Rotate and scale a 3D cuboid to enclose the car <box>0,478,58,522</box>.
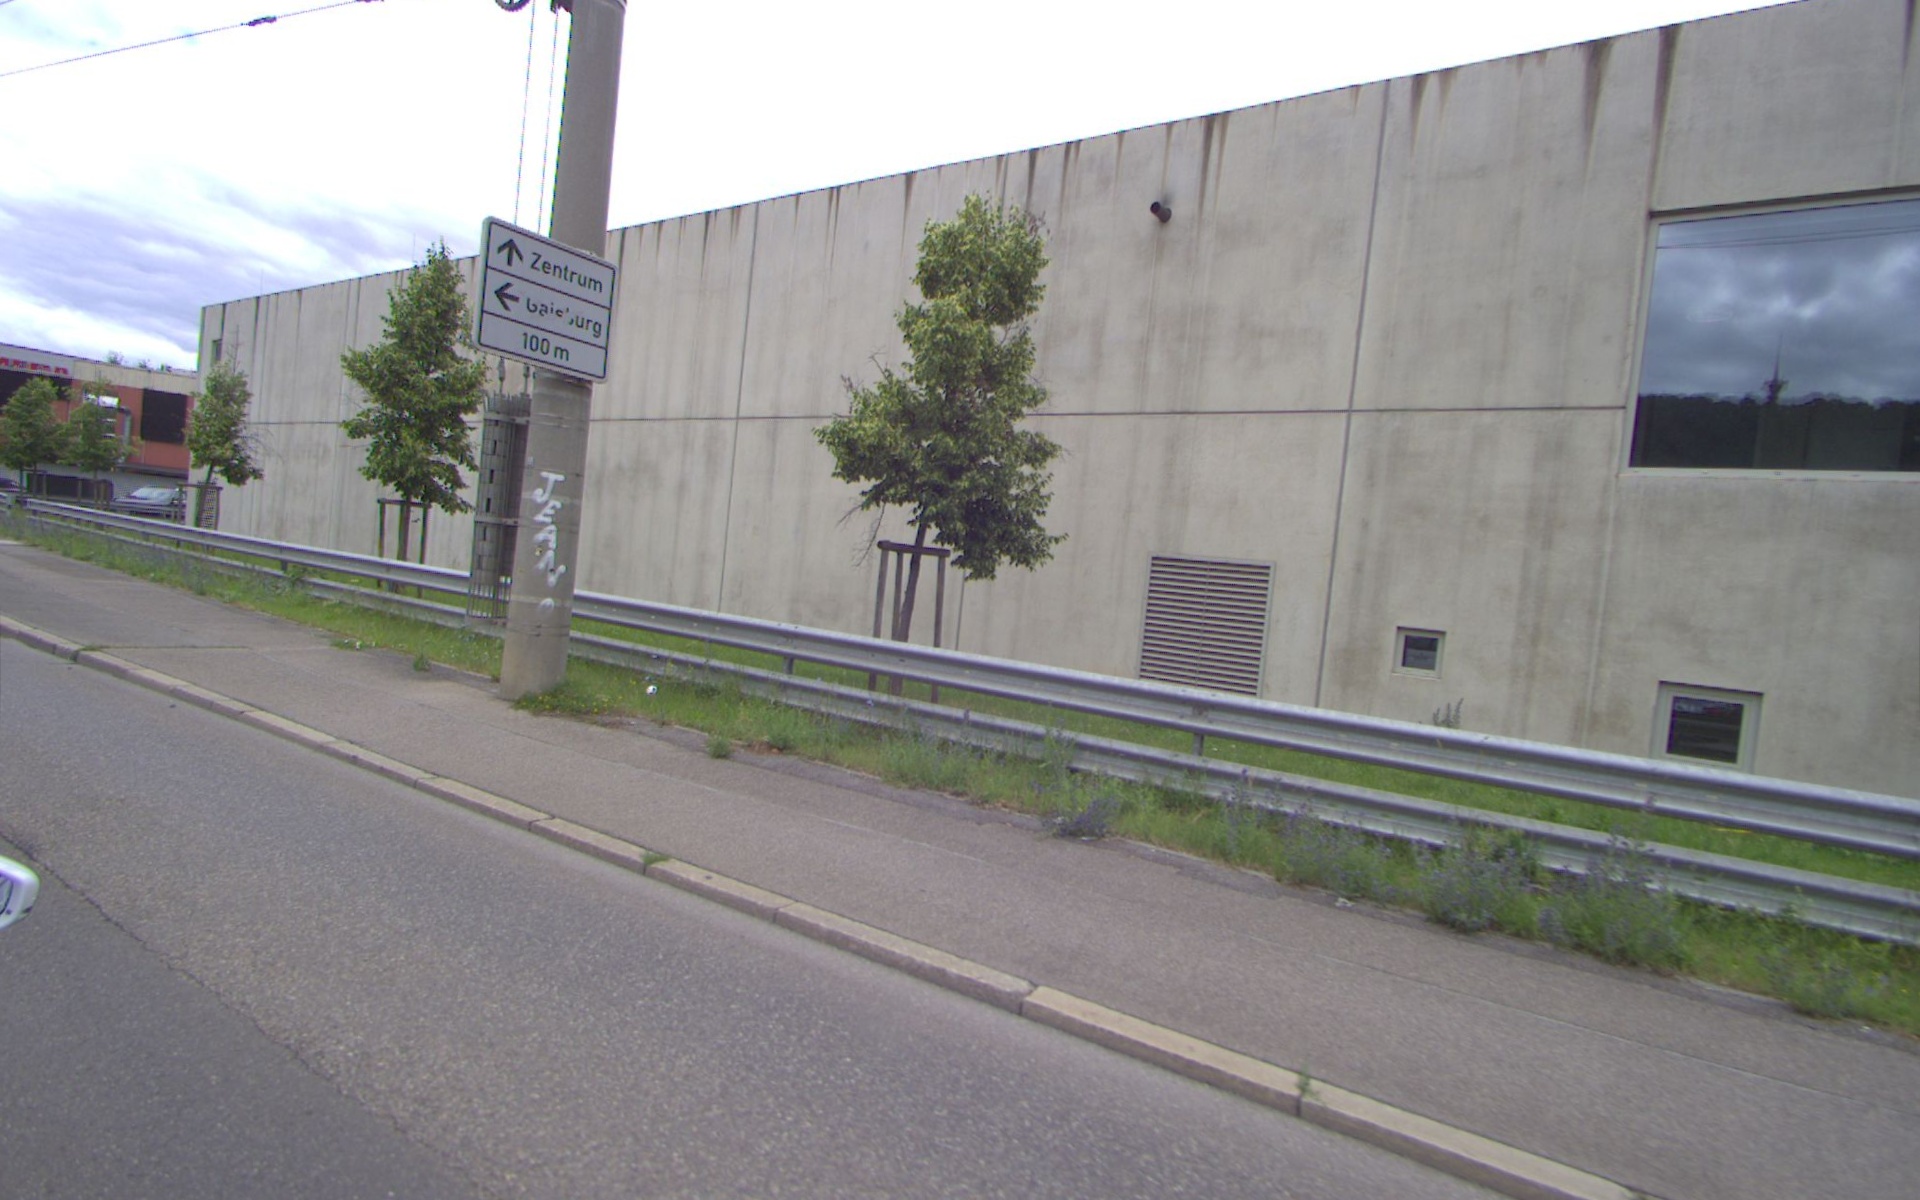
[{"bbox_3d":[-36.805,-3.919,37.601,4.178,1.461,1.752,6,1,-25],"label":"car"}]

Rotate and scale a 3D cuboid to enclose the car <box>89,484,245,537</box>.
[{"bbox_3d":[-31.549,-3.519,40.188,2.119,1.568,4.520,5,1,12],"label":"car"}]
